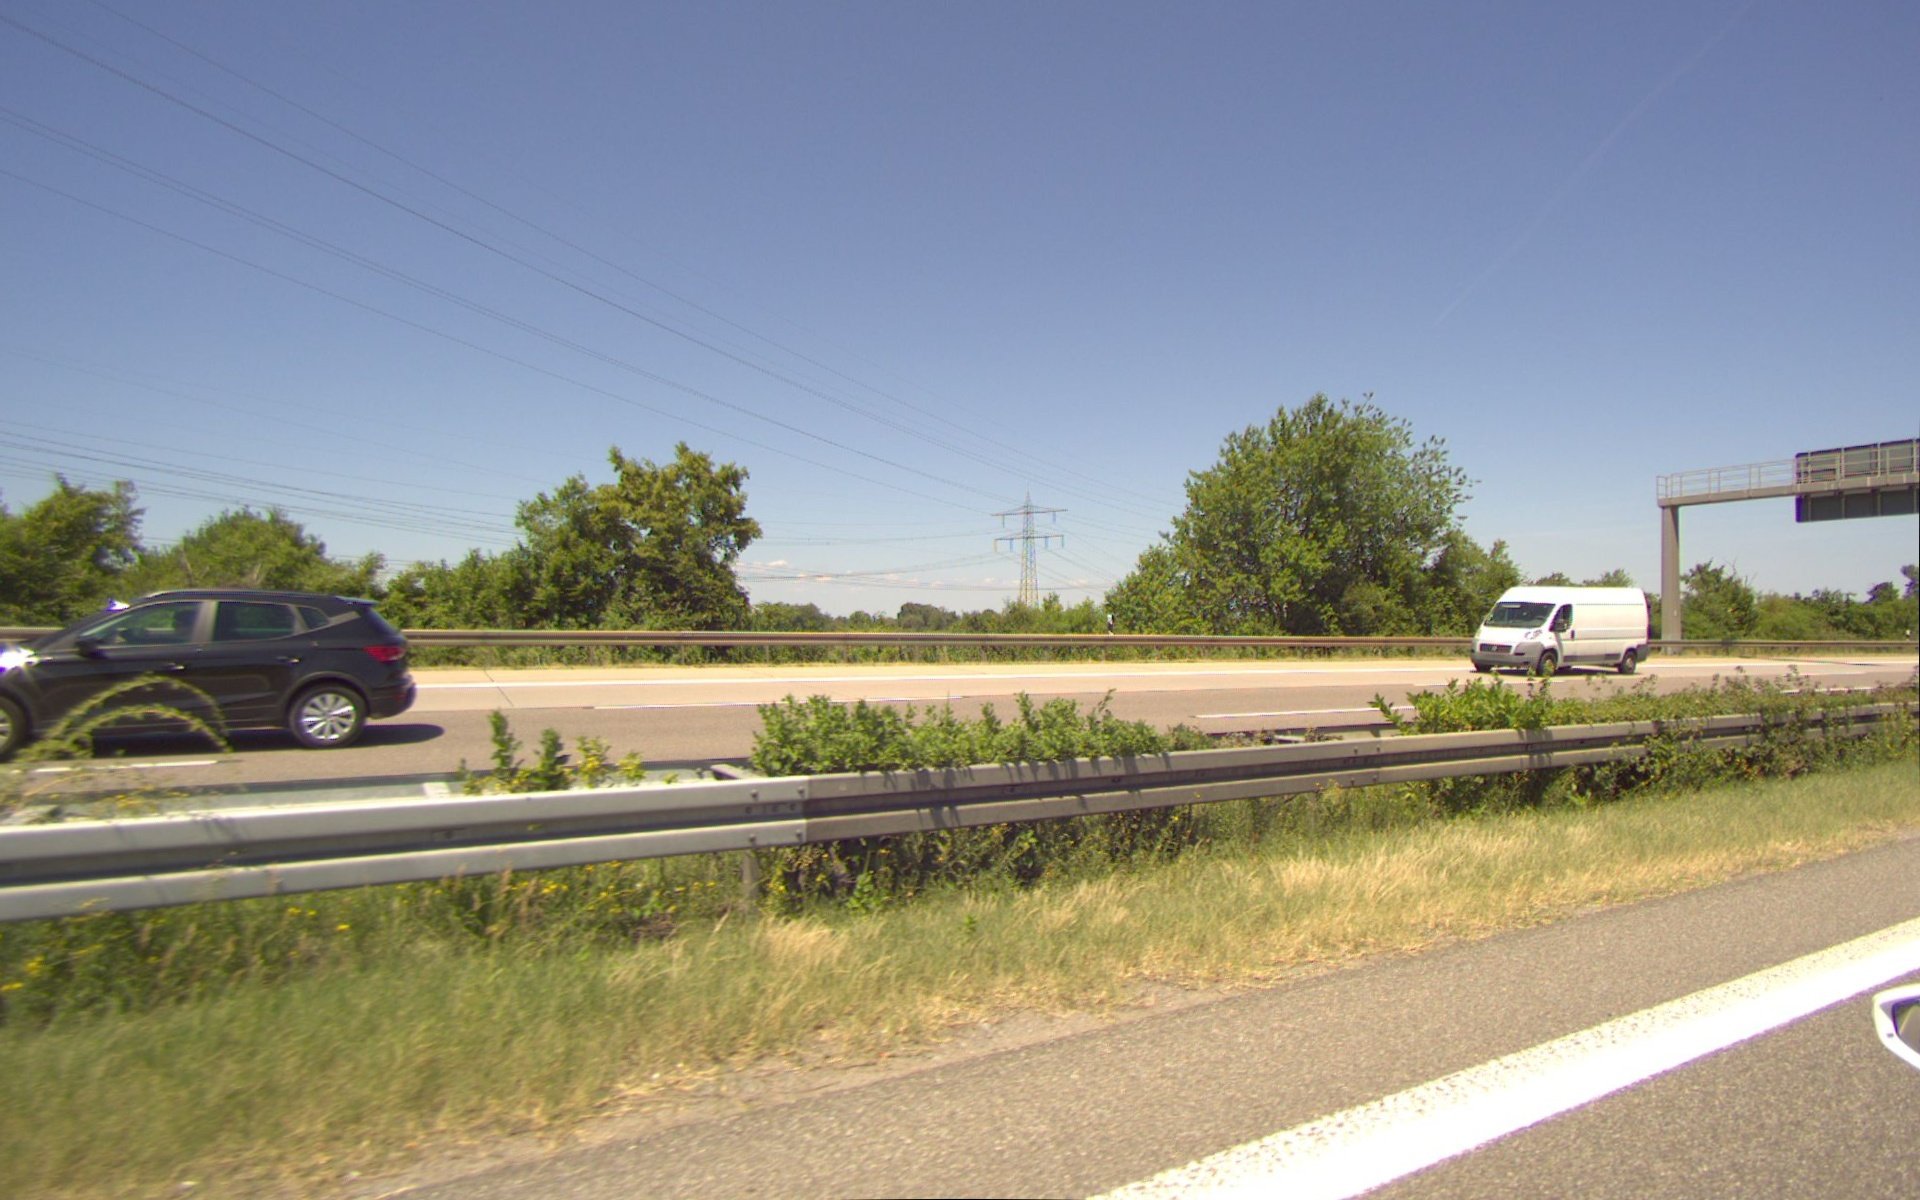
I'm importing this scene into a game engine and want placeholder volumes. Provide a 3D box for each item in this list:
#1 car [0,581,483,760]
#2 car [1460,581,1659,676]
[{"bbox_3d":[-7.279,0.636,10.263,4.186,1.530,1.969,2,0,-31],"label":"car"},{"bbox_3d":[17.407,0.816,29.069,6.258,2.510,2.121,2,0,-30],"label":"car"}]
